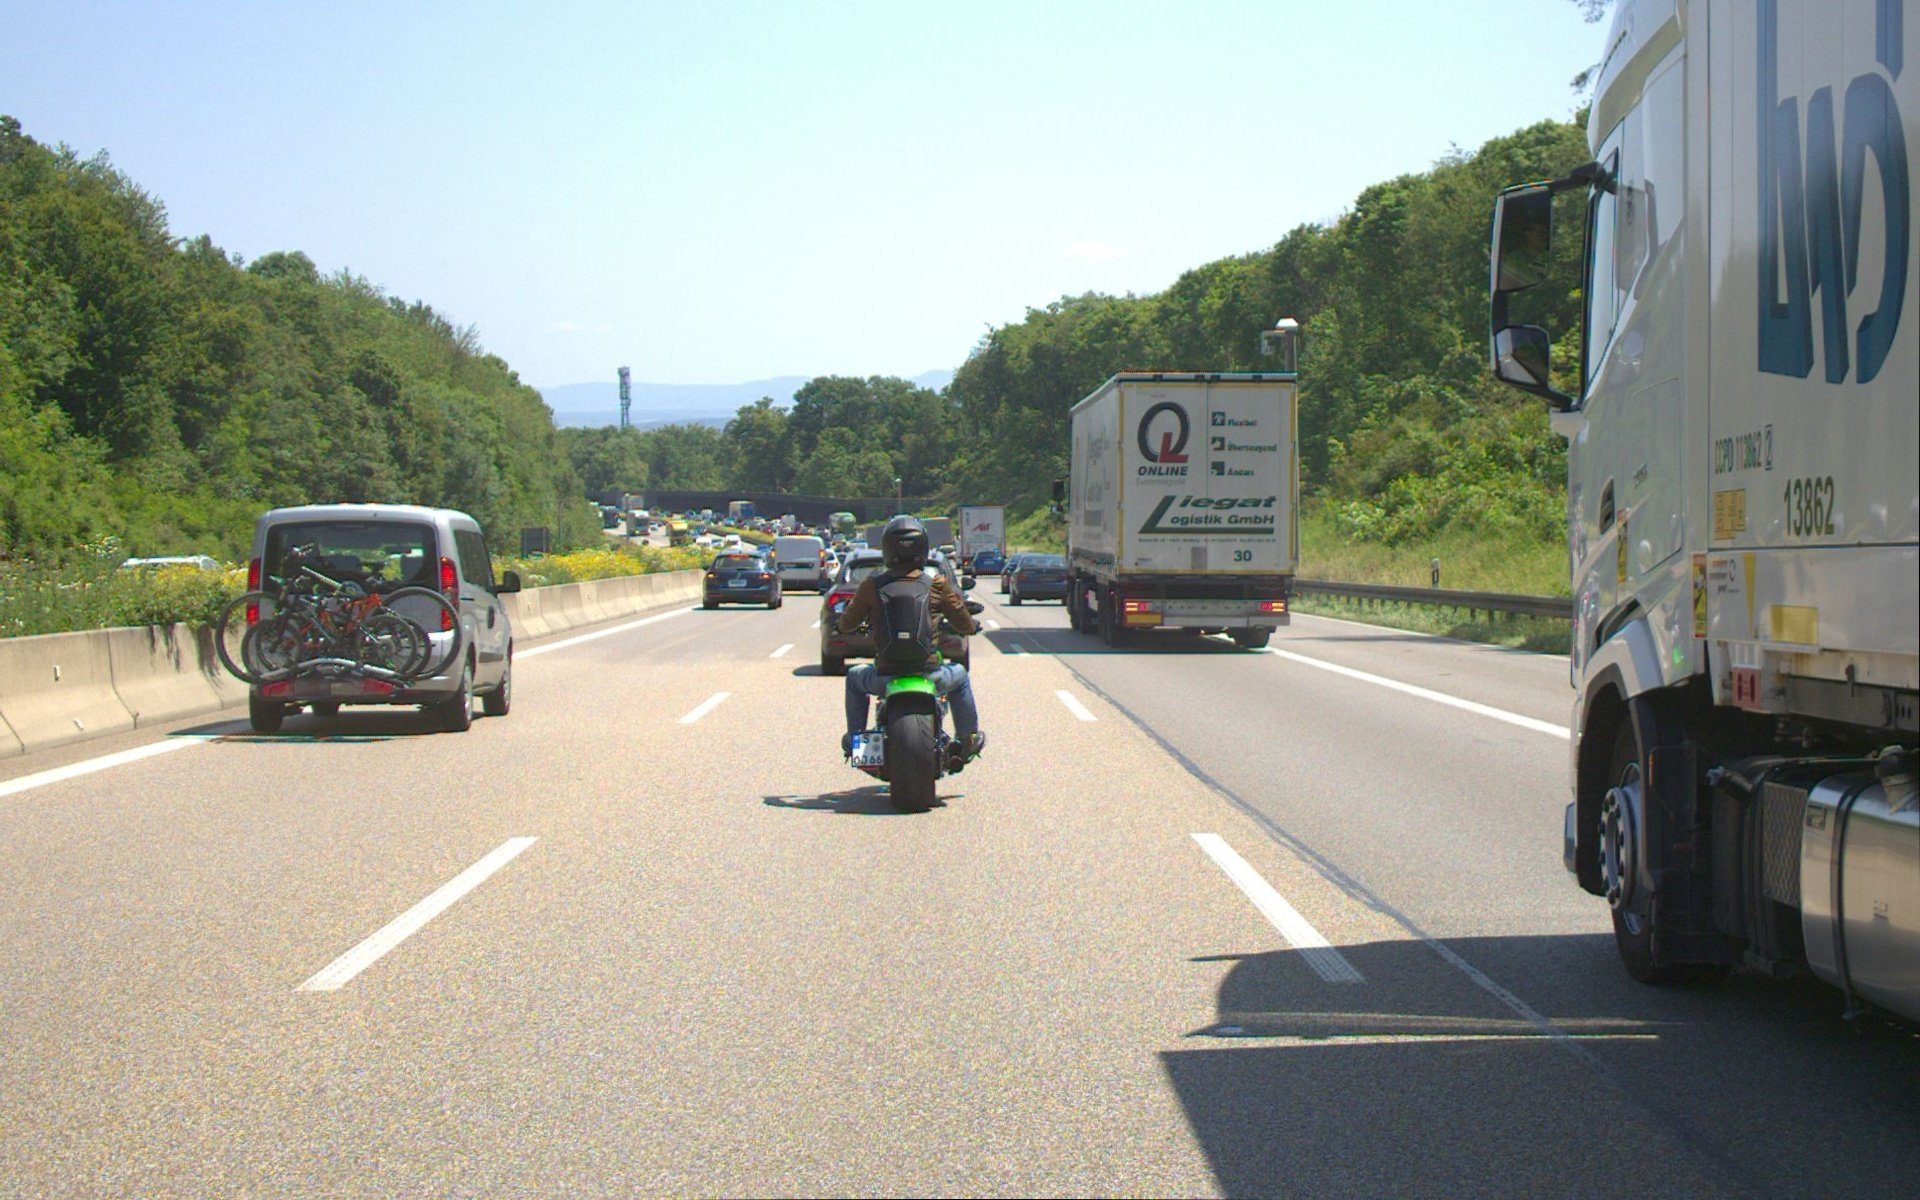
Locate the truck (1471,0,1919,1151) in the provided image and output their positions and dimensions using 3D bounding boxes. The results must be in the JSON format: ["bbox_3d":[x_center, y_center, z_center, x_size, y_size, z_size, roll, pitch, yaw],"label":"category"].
[{"bbox_3d":[3.510,-0.791,8.427,2.680,4.045,10.627,1,2,-1],"label":"truck"}]

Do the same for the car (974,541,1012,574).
[{"bbox_3d":[1.682,-2.206,178.076,1.831,1.553,4.120,1,2,-1],"label":"car"}]

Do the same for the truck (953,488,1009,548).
[{"bbox_3d":[1.195,-4.844,202.064,3.067,3.335,9.653,2,2,-1],"label":"truck"}]

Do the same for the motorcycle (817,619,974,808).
[{"bbox_3d":[-0.352,0.631,19.996,0.862,0.978,2.131,0,1,0],"label":"motorcycle"}]

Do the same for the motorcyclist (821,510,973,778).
[{"bbox_3d":[-0.354,0.236,19.843,0.856,1.510,0.914,0,1,0],"label":"motorcyclist"}]

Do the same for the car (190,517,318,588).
[{"bbox_3d":[-15.735,-1.077,76.844,1.937,1.516,4.203,-1,1,0],"label":"car"}]

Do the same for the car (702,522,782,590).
[{"bbox_3d":[-5.333,-1.110,84.496,1.758,1.538,4.396,1,2,-1],"label":"car"}]

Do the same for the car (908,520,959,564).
[{"bbox_3d":[-1.005,-2.181,128.818,1.831,1.553,4.120,1,2,-1],"label":"car"}]

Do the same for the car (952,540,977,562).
[{"bbox_3d":[0.316,-3.721,260.835,1.831,1.553,4.120,1,2,-1],"label":"car"}]

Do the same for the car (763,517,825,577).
[{"bbox_3d":[-5.278,-1.701,109.483,1.831,1.804,4.120,1,2,-1],"label":"car"}]

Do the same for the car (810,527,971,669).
[{"bbox_3d":[-0.839,-0.068,41.997,1.845,1.552,4.440,1,2,-1],"label":"car"}]

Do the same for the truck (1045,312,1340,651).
[{"bbox_3d":[3.495,-1.961,57.441,3.383,4.701,17.711,2,2,-1],"label":"truck"}]

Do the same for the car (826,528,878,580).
[{"bbox_3d":[-3.975,-1.716,126.932,1.831,1.804,4.120,1,2,-1],"label":"car"}]

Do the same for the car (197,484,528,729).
[{"bbox_3d":[-4.884,-0.016,28.862,1.898,1.841,5.484,1,1,-1],"label":"car"}]

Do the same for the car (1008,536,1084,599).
[{"bbox_3d":[2.281,-0.886,91.961,1.831,1.553,4.120,1,2,-1],"label":"car"}]
